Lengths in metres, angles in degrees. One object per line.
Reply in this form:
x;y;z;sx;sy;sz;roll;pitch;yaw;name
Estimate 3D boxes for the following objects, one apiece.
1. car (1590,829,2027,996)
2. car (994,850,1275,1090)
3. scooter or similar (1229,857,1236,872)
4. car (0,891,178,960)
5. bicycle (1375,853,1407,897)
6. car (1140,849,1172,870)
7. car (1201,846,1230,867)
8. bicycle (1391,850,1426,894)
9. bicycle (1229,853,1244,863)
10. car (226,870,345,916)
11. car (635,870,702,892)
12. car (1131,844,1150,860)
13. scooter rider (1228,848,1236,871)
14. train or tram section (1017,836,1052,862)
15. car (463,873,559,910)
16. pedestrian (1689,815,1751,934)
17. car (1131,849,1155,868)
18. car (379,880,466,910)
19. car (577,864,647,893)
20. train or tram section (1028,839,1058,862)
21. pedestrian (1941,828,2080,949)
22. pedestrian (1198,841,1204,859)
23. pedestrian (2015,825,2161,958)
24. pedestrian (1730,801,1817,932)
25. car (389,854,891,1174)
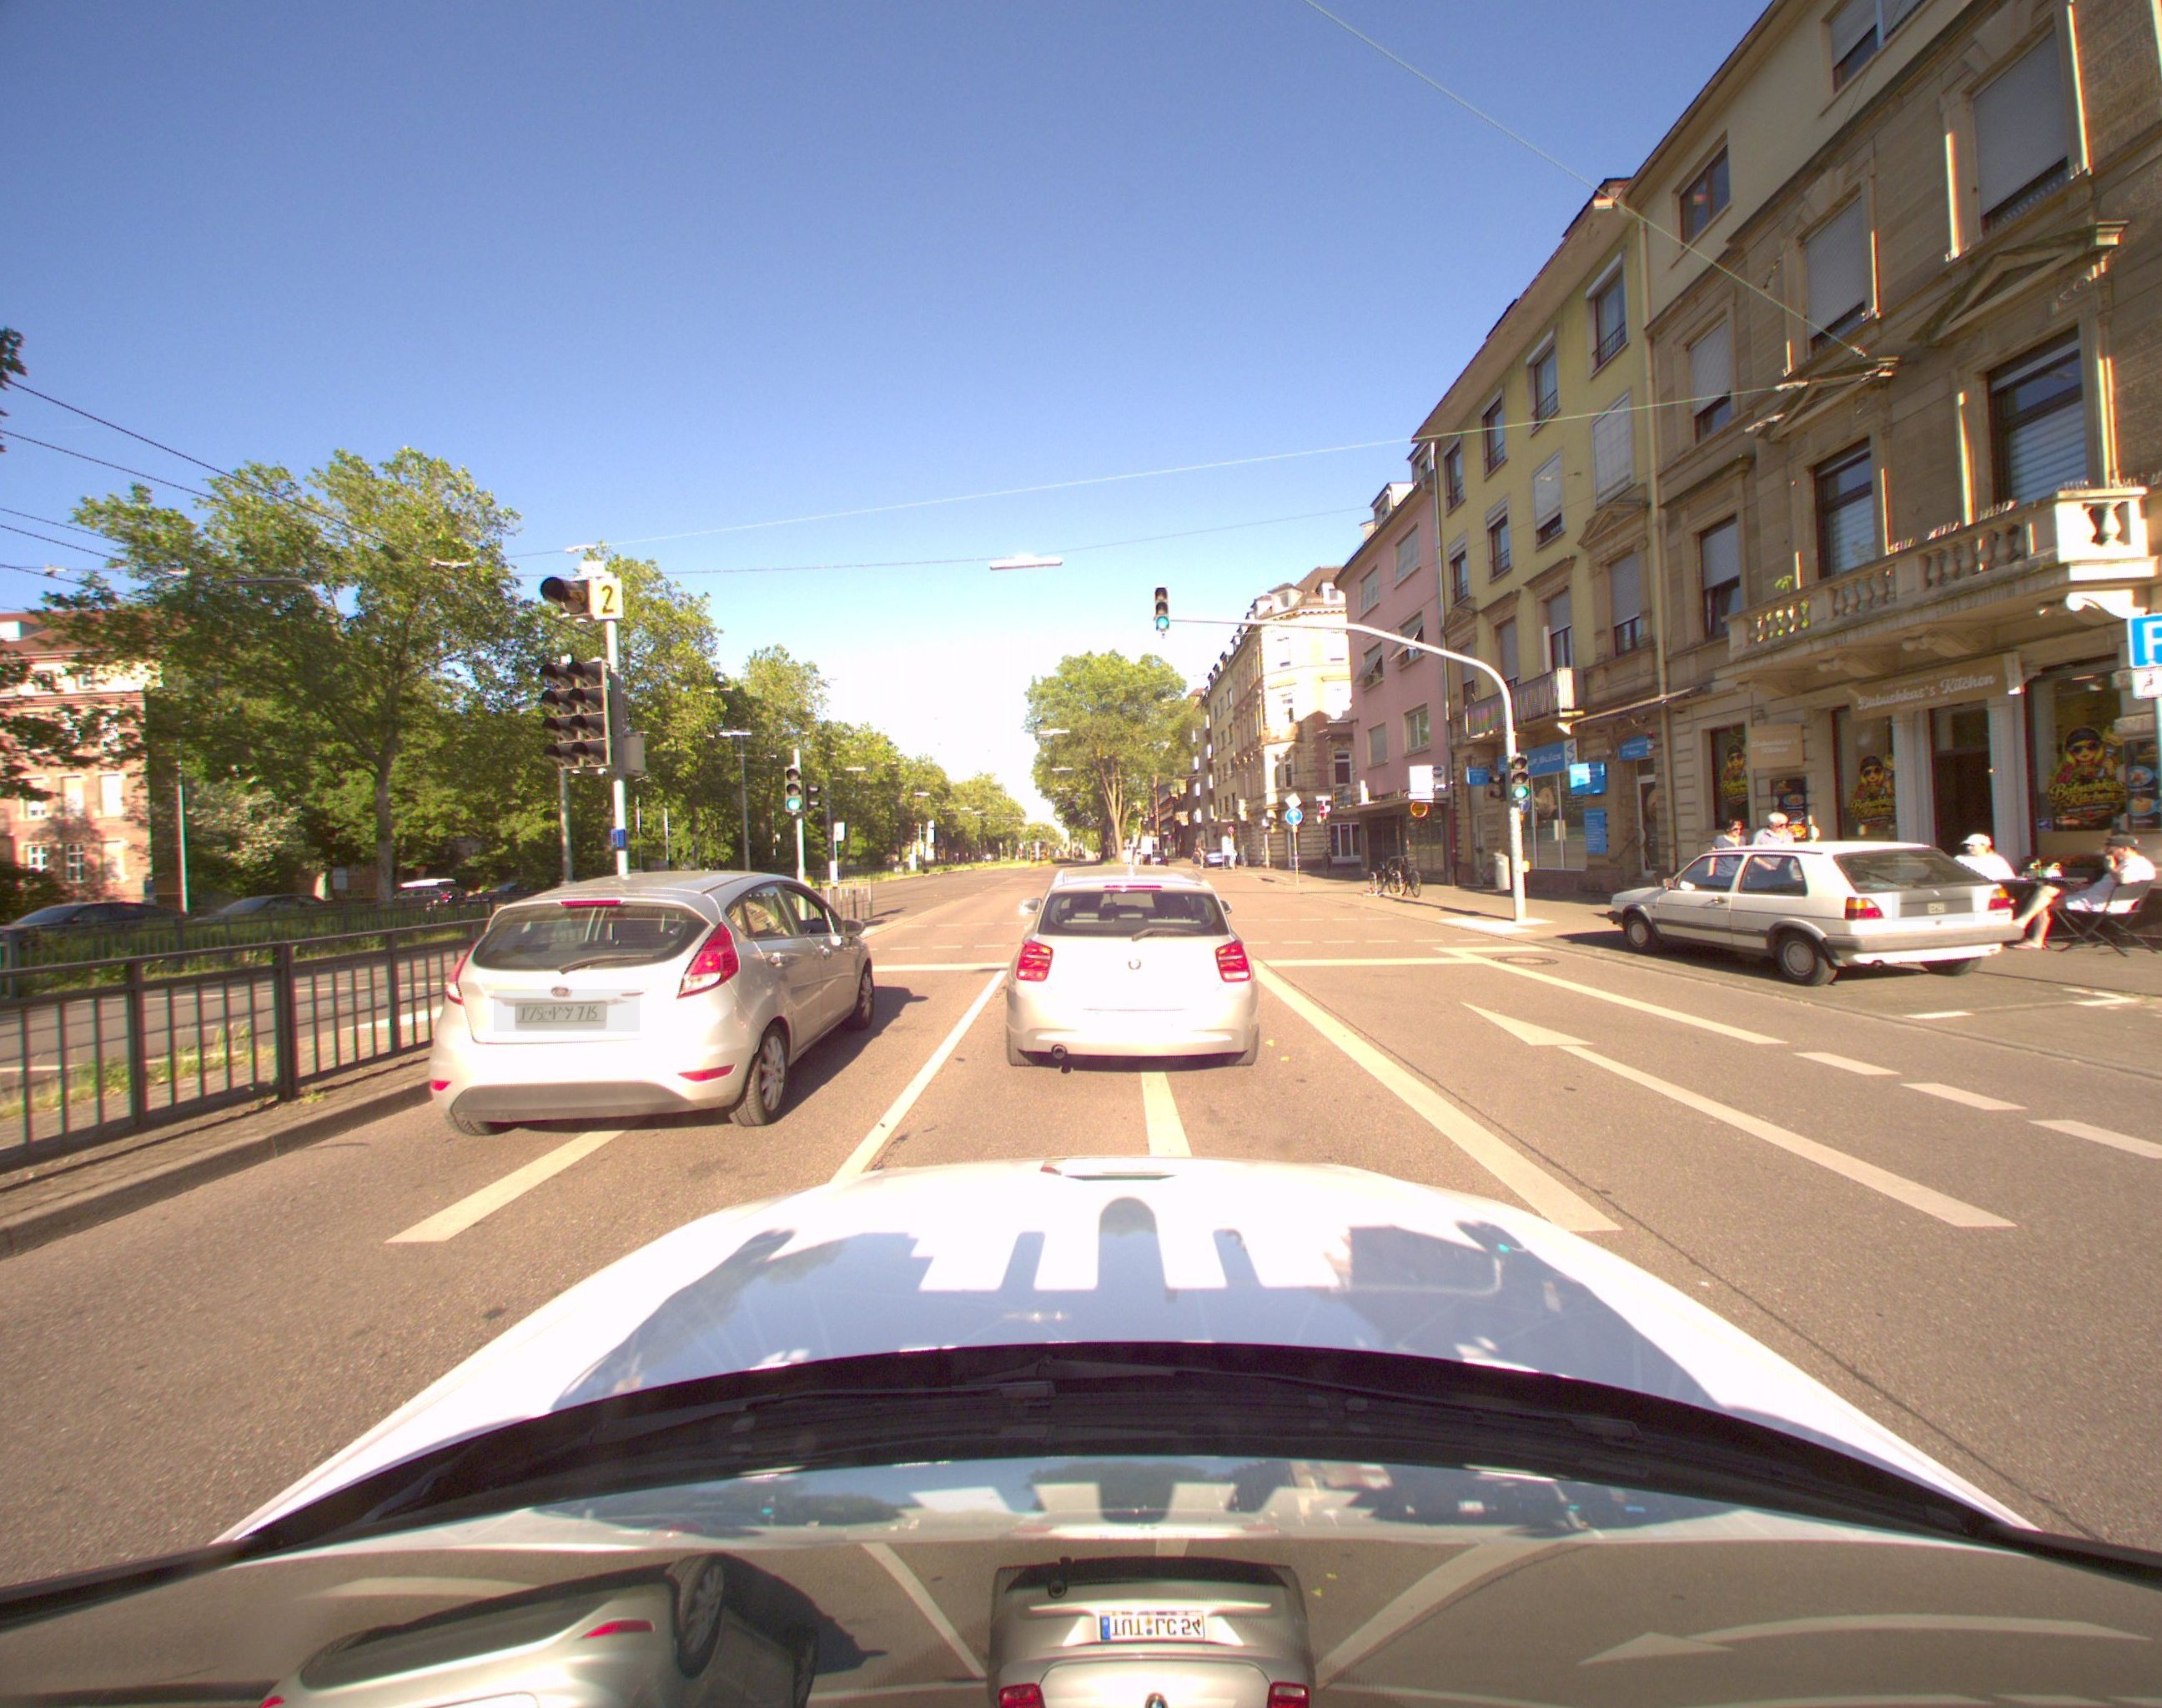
8.040;0.534;9.603;1.557;1.415;4.005;-6;0;2;car
0.392;0.713;7.061;1.733;1.467;4.002;-1;0;2;car
10.414;0.706;55.876;0.335;0.988;1.287;-2;0;7;scooter or similar
-27.865;1.912;22.244;1.664;1.509;4.145;-2;0;0;car
8.635;0.559;22.741;0.411;1.141;1.814;-2;0;8;bicycle
5.251;0.379;57.540;1.731;1.433;3.674;-1;0;-3;car
10.436;0.193;63.487;1.729;1.519;3.637;-1;0;1;car
9.130;0.481;22.726;0.446;1.159;1.762;-2;0;8;bicycle
12.139;0.316;63.628;0.752;0.770;1.945;-2;0;0;bicycle
-40.408;1.932;41.515;1.986;2.013;4.002;-2;0;2;car
-27.514;1.770;54.528;1.929;1.349;4.849;-2;-1;0;car
5.926;-0.186;81.607;1.719;1.507;3.555;-1;0;0;car
10.369;0.365;55.930;0.463;1.505;0.812;-2;0;4;scooter rider
-7.272;-0.811;130.158;3.954;3.865;17.496;-2;0;2;train or tram section
-27.483;1.785;39.447;1.664;1.509;4.145;-2;0;0;car
9.390;0.296;11.979;0.547;1.708;0.389;-2;0;4;pedestrian
5.235;0.357;68.986;1.719;1.507;3.555;-1;0;0;car
-37.879;2.332;46.899;3.968;1.494;1.395;-2;0;5;car
-27.764;1.419;48.343;1.664;1.509;4.145;-2;0;0;car
-6.704;-0.683;147.535;3.990;3.865;17.496;-2;0;2;train or tram section
10.622;0.380;9.328;0.795;1.281;0.608;-5;0;-1;pedestrian
12.431;-0.387;84.352;0.503;1.802;0.806;-2;0;1;pedestrian
10.782;0.380;8.658;0.899;1.281;0.655;-5;0;-4;pedestrian
10.016;0.176;11.801;0.670;1.806;0.531;-5;0;1;pedestrian
-2.588;0.768;5.913;1.605;1.467;3.886;-2;0;-3;car
